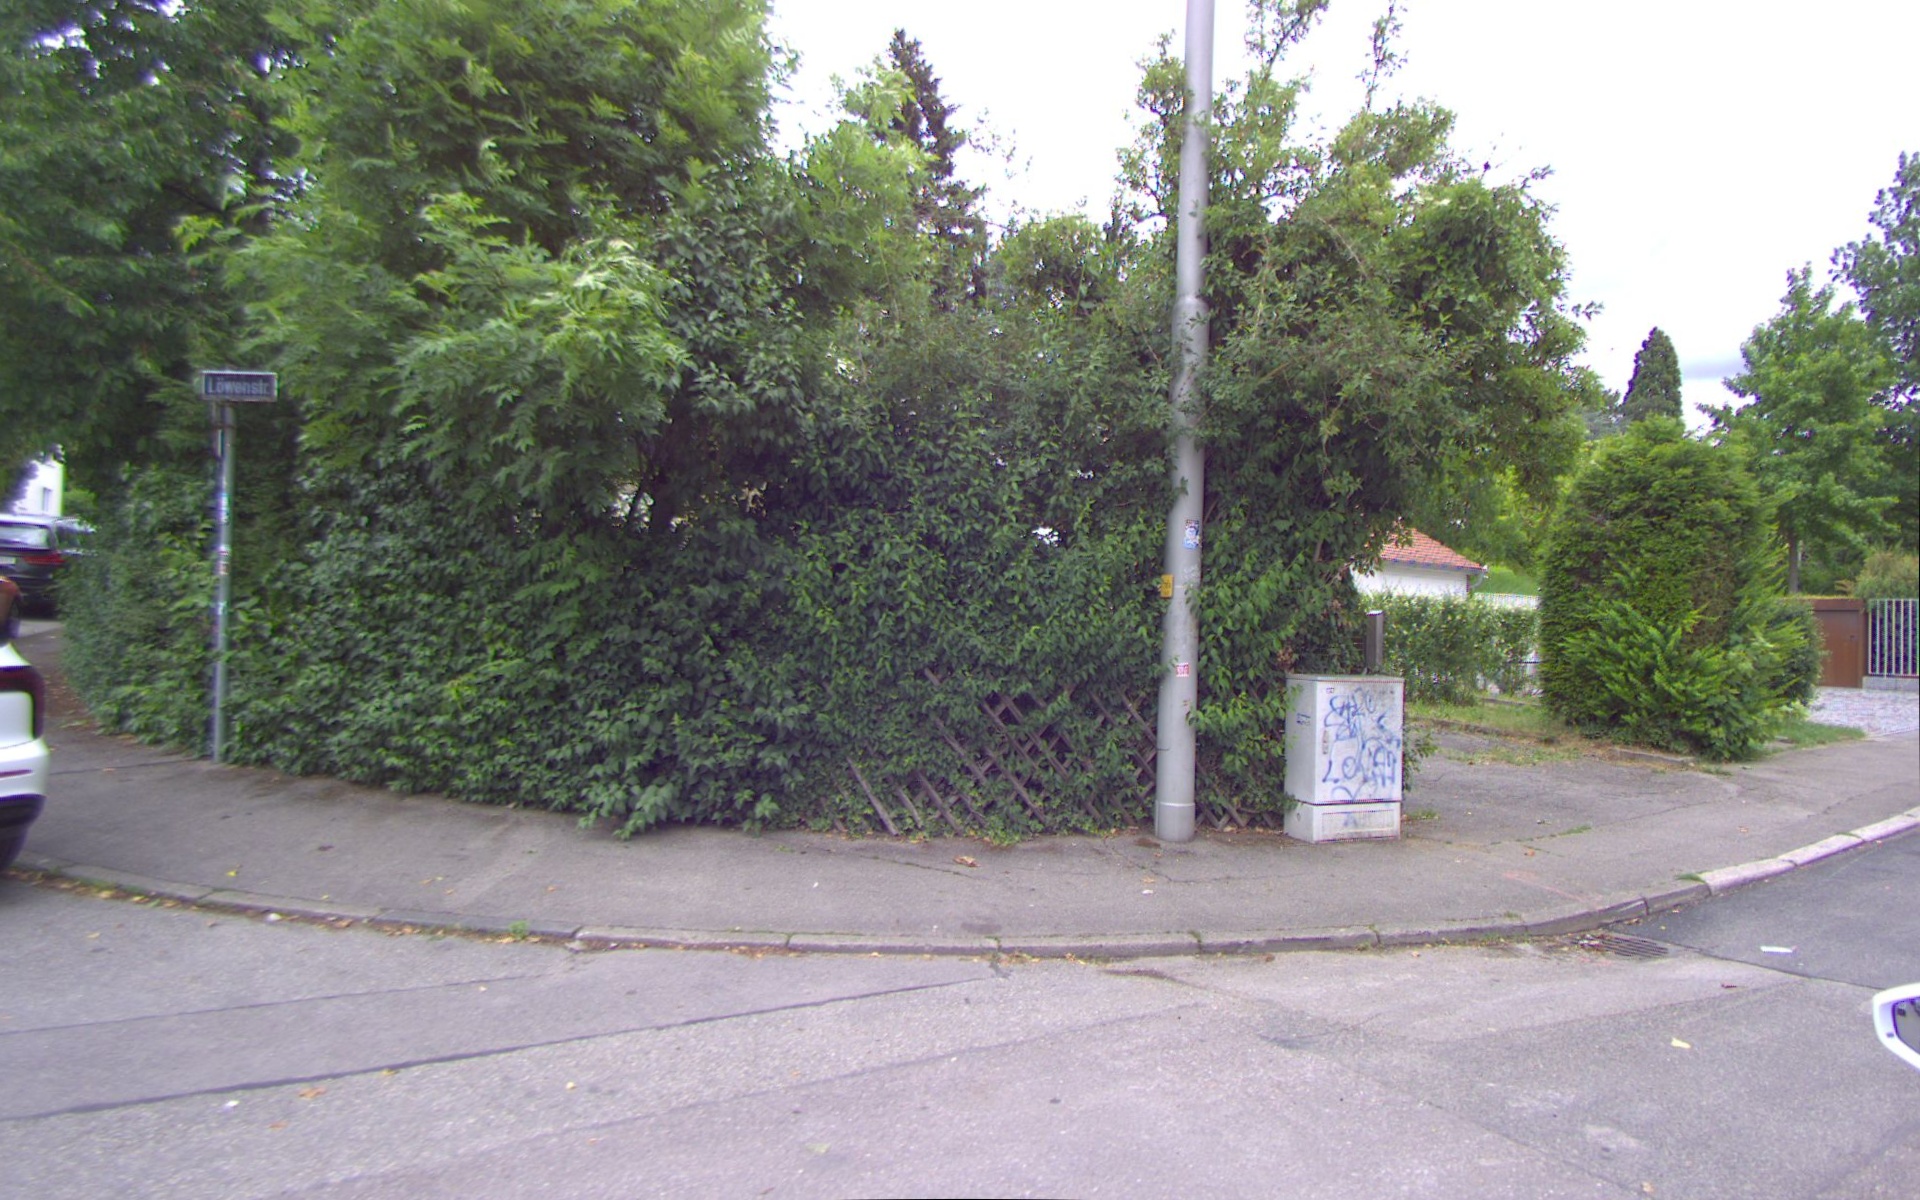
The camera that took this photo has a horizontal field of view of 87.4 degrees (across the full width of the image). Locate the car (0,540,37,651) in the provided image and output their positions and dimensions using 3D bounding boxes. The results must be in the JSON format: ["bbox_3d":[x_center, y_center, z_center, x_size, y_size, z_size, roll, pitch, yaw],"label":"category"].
[{"bbox_3d":[-13.444,-0.072,12.908,1.615,1.456,3.755,2,2,-32],"label":"car"}]

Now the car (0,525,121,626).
[{"bbox_3d":[-16.602,-0.499,17.881,1.743,1.571,4.217,2,2,-29],"label":"car"}]

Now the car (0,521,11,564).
[{"bbox_3d":[-31.584,-1.868,31.705,1.522,1.407,3.351,2,2,-29],"label":"car"}]

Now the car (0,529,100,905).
[{"bbox_3d":[-6.513,0.429,4.793,4.427,1.677,1.834,3,1,22],"label":"car"}]
